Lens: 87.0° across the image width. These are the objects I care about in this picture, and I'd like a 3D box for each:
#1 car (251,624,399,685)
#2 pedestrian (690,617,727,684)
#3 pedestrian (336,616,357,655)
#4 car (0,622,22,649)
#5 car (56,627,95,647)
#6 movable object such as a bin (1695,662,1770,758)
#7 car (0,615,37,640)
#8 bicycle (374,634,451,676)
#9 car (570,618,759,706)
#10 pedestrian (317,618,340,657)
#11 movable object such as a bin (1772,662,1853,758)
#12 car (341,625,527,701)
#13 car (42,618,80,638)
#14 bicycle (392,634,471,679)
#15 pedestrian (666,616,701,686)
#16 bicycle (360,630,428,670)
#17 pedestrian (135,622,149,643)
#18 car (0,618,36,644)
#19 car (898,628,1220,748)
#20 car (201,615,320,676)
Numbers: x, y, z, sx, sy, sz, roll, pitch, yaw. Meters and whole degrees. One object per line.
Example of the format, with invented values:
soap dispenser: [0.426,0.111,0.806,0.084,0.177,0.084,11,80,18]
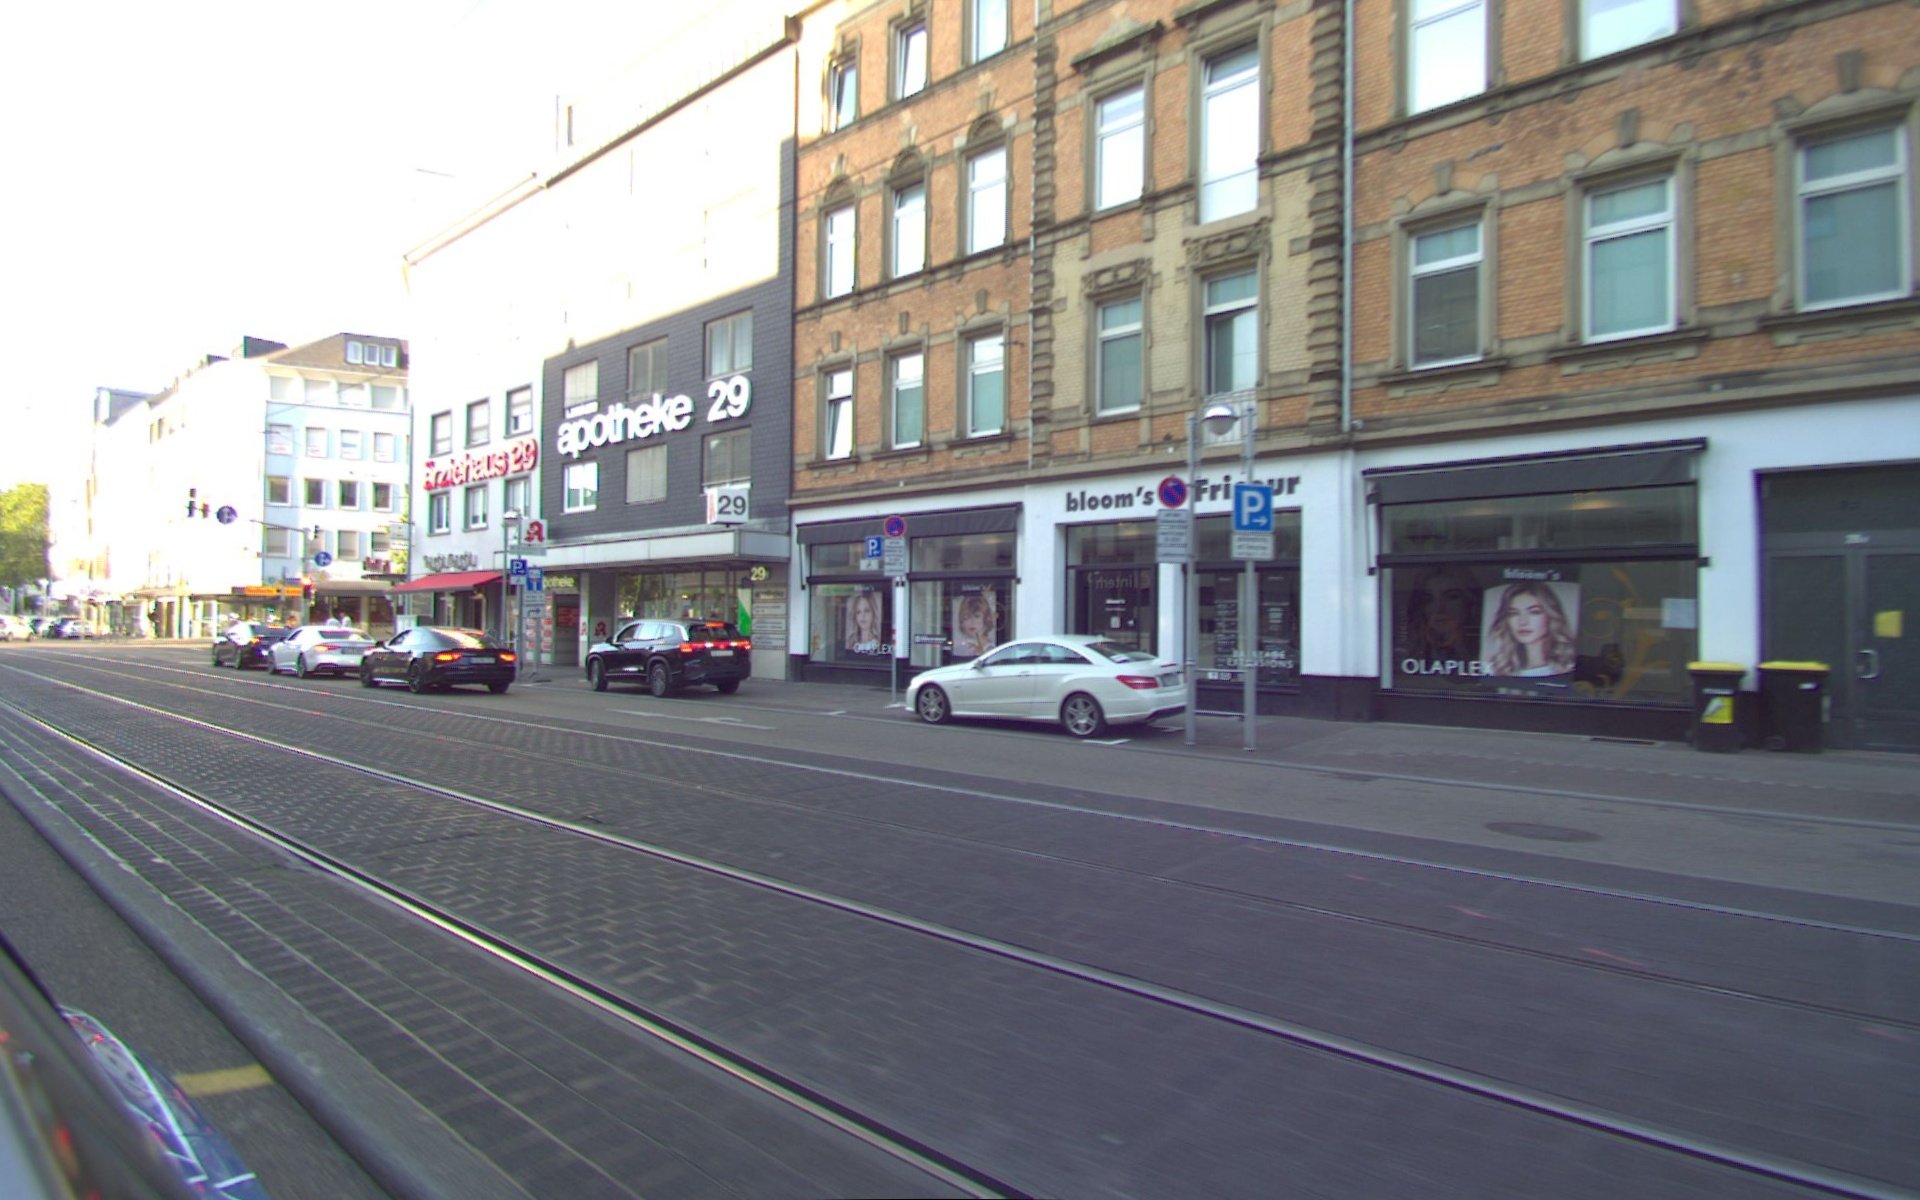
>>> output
car: [-17.212,1.442,27.352,4.652,1.464,1.973,0,-4,40]
pedestrian: [-6.412,1.270,25.814,0.624,1.673,0.675,-2,-2,41]
pedestrian: [-28.508,1.639,47.030,0.598,1.792,0.631,-1,-2,33]
car: [-48.389,1.719,49.454,1.593,1.344,3.451,-1,-2,33]
car: [-61.123,2.576,69.940,3.387,1.263,1.615,-2,0,42]
movable object such as a bin: [9.135,1.282,11.971,0.659,1.051,0.512,-1,0,41]
car: [-67.535,1.977,72.299,4.256,1.711,1.804,-1,-2,40]
bicycle: [-17.364,1.722,32.121,0.553,1.233,2.090,-1,0,41]
car: [-6.530,1.266,22.098,4.647,1.687,1.909,-2,-1,44]
pedestrian: [-28.872,1.702,46.282,0.666,1.758,0.632,-1,-2,29]
movable object such as a bin: [9.998,1.271,11.880,0.694,1.041,0.490,-1,0,41]
car: [-11.558,1.316,22.114,4.646,1.464,1.973,-1,-3,41]
car: [-64.664,2.033,72.781,3.387,1.364,1.615,-2,0,42]
bicycle: [-16.213,1.714,31.075,0.553,1.233,2.090,-1,0,41]
pedestrian: [-6.920,1.271,25.334,0.602,1.712,0.614,-2,-2,41]
bicycle: [-18.539,1.614,33.174,0.553,1.220,1.871,-1,0,41]
pedestrian: [-58.164,2.290,71.984,0.621,1.483,0.539,-2,0,26]
car: [-55.309,1.774,58.228,1.690,1.483,3.997,1,-2,-20]
car: [1.389,1.213,15.364,4.604,1.464,1.851,-1,0,38]
car: [-21.753,1.381,31.392,4.727,1.740,1.972,-1,-4,43]
